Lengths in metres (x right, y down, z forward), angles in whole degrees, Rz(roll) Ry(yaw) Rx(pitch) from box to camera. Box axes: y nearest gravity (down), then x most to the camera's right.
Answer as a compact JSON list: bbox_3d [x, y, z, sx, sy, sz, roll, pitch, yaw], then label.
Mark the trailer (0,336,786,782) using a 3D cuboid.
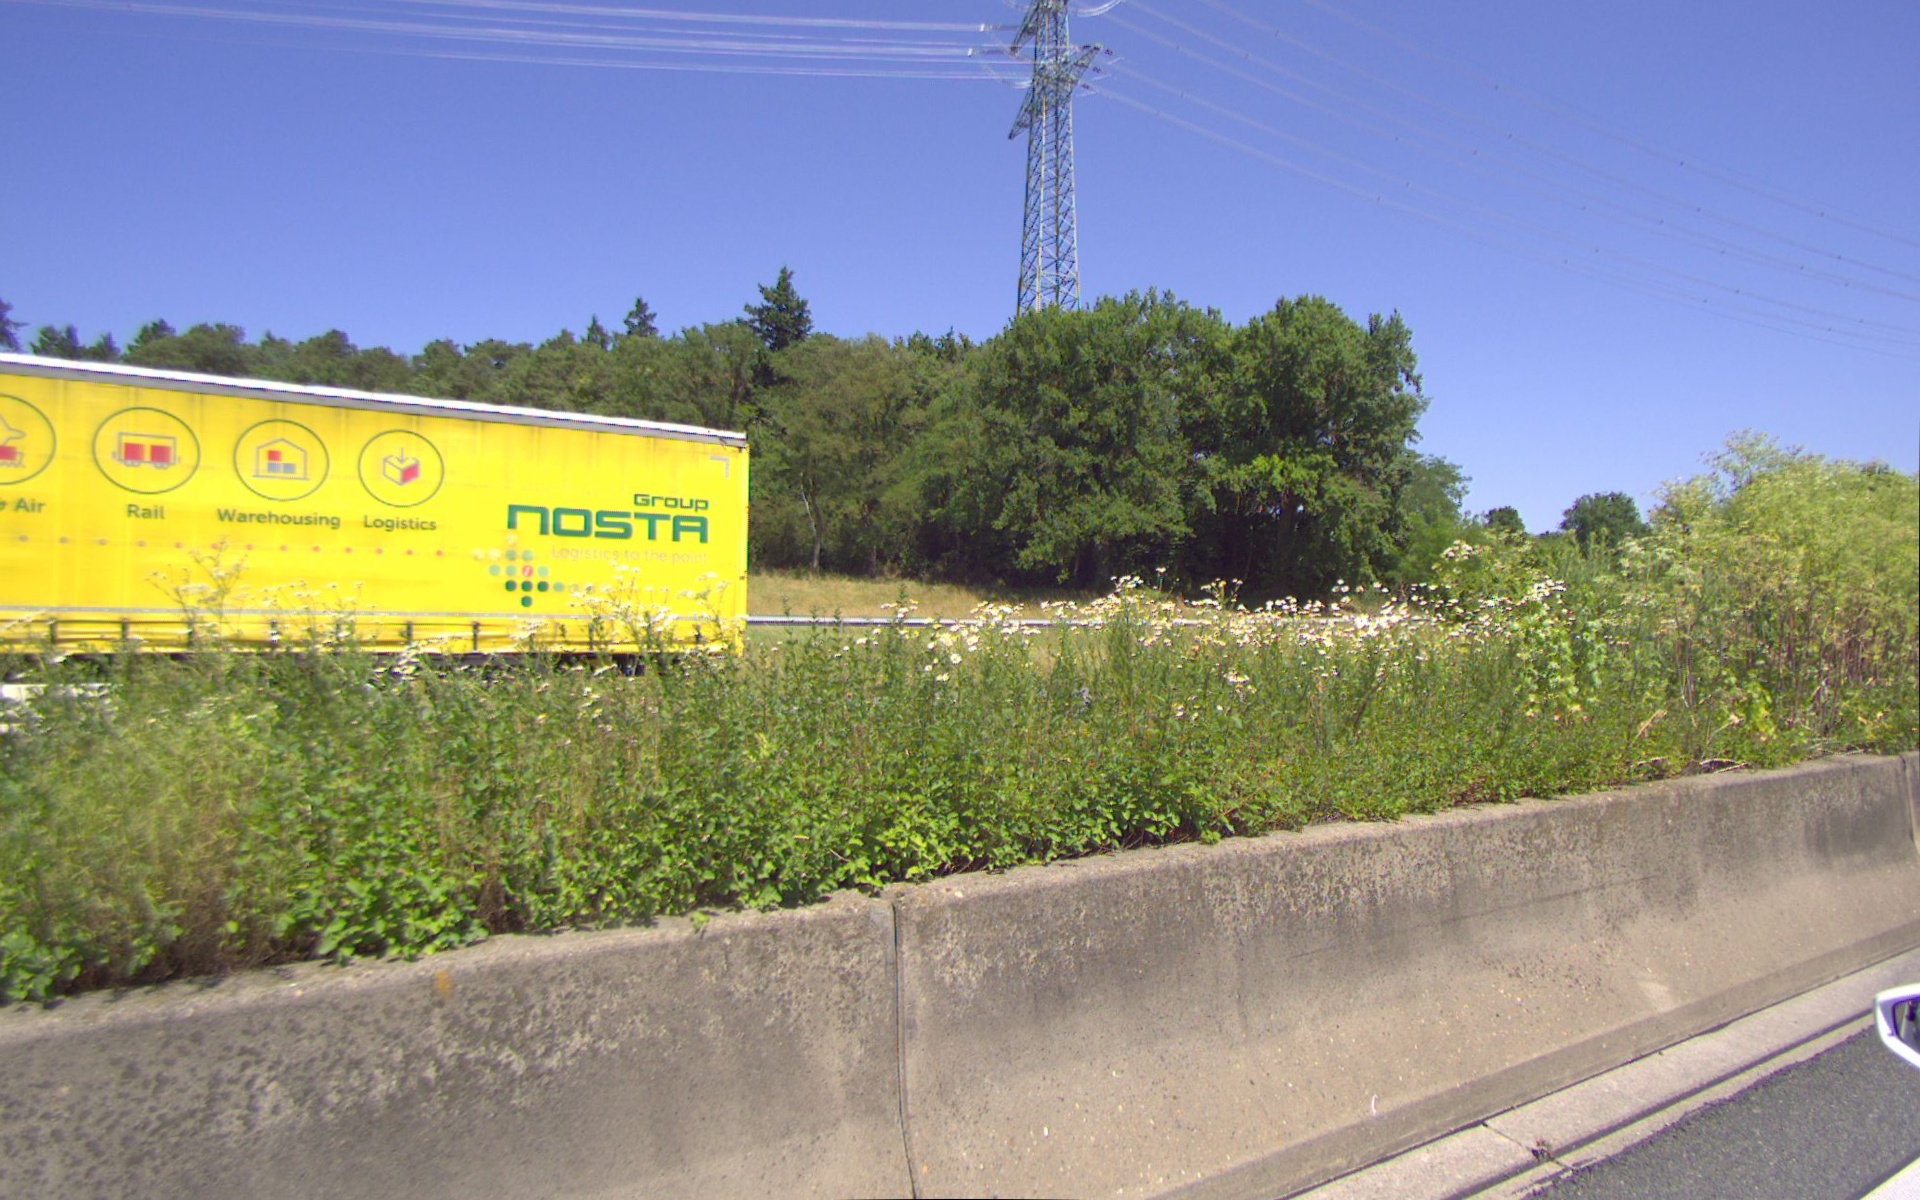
[{"bbox_3d":[-7.665,-0.328,12.115,10.561,4.262,2.808,2,0,-30],"label":"trailer"}]
